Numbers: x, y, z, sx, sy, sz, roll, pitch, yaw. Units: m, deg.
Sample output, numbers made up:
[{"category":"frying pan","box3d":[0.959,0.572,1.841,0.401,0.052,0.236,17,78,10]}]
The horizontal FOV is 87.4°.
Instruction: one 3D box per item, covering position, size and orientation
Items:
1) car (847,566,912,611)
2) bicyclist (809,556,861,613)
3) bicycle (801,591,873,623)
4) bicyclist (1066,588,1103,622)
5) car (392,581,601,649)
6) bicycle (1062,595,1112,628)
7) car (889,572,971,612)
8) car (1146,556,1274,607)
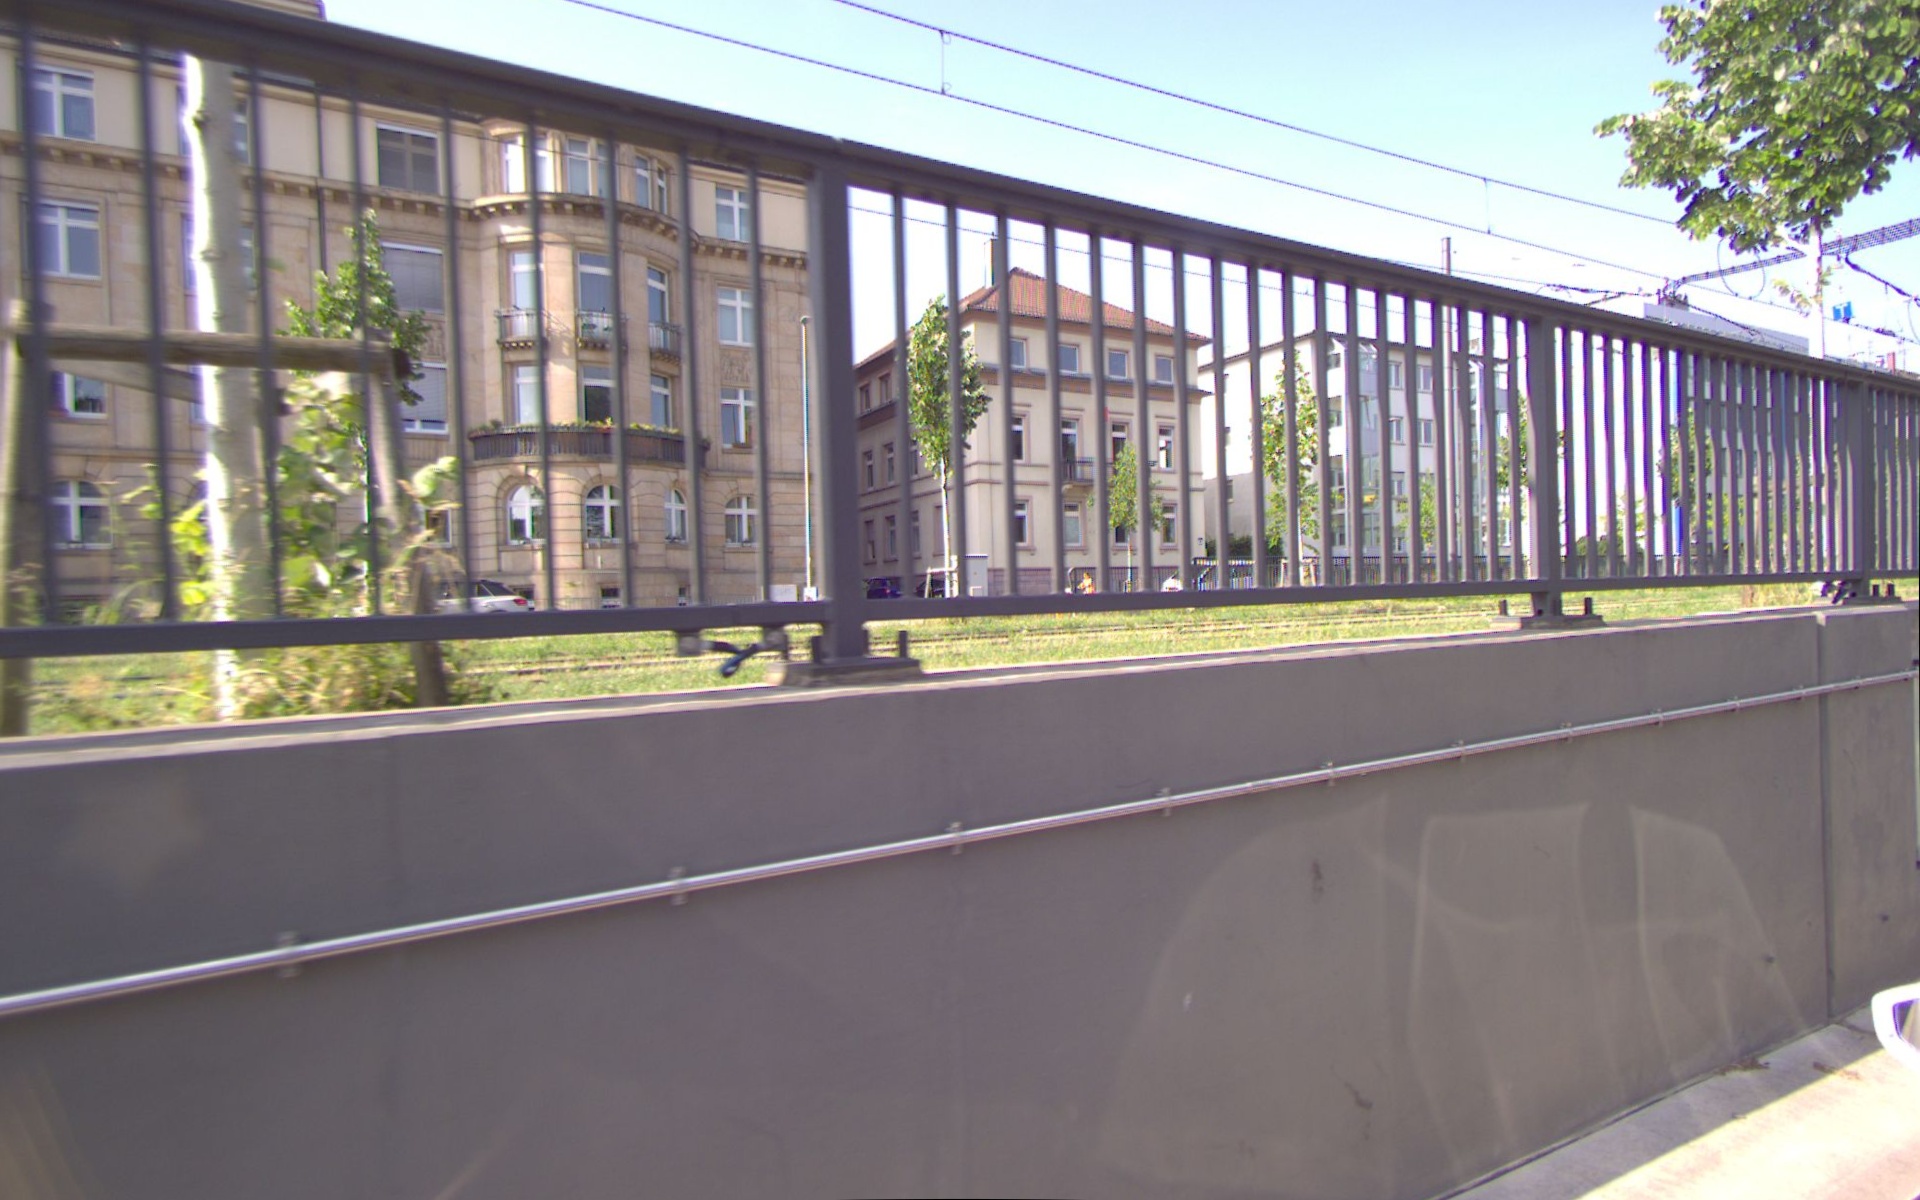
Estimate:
[{"category":"car","box3d":[-3.805,-0.562,47.103,1.581,2.041,3.905,0,1,-28]},{"category":"bicyclist","box3d":[-3.904,-0.485,31.373,1.496,1.716,0.471,0,4,-30]},{"category":"bicycle","box3d":[-3.858,0.219,31.509,2.120,0.939,0.657,1,4,-29]},{"category":"bicyclist","box3d":[4.502,0.170,36.269,1.237,1.194,0.529,1,1,-32]},{"category":"car","box3d":[-11.016,0.334,23.962,4.384,1.486,1.985,0,0,-30]},{"category":"bicycle","box3d":[4.605,0.418,36.334,1.855,1.107,0.529,2,0,-32]},{"category":"car","box3d":[-1.316,-0.317,42.596,1.636,1.572,3.964,-2,0,-33]},{"category":"car","box3d":[10.513,-0.756,42.146,5.203,2.041,2.237,0,1,-31]}]
